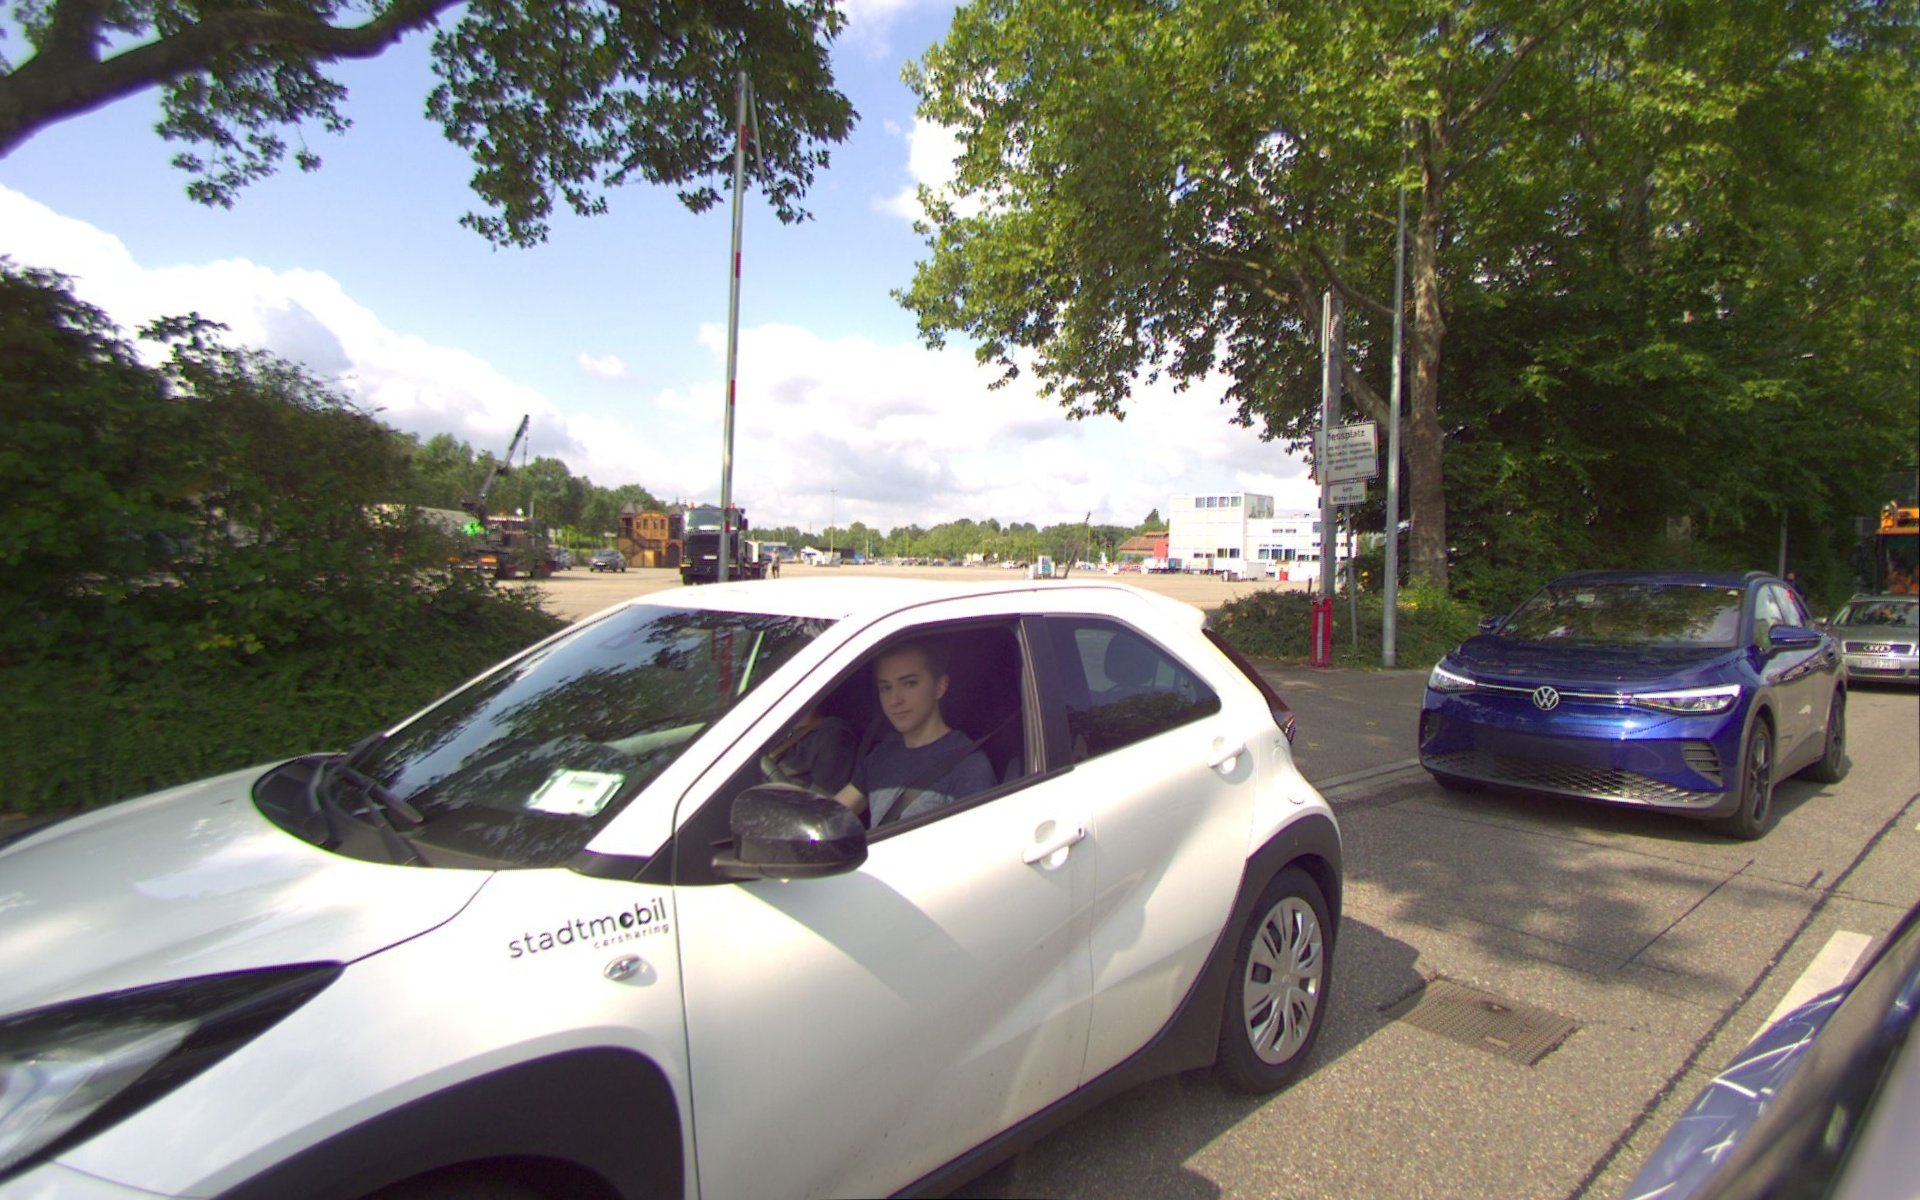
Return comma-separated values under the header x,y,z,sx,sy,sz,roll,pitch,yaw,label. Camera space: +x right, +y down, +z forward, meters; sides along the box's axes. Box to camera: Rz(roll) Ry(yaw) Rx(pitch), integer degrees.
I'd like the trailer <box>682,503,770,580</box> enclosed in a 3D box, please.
x,y,z,sx,sy,sz,roll,pitch,yaw,label
-11.084,-2.717,49.062,2.714,3.196,12.032,1,2,-6,trailer

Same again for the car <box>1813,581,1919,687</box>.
x,y,z,sx,sy,sz,roll,pitch,yaw,label
14.782,0.459,15.713,3.930,1.482,1.770,-1,0,-41,car

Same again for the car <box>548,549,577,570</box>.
x,y,z,sx,sy,sz,roll,pitch,yaw,label
-27.315,-2.769,69.644,1.341,1.353,3.491,0,0,-13,car

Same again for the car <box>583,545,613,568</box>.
x,y,z,sx,sy,sz,roll,pitch,yaw,label
-24.568,-2.903,68.740,1.463,1.438,3.491,0,0,-13,car

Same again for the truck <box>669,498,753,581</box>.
x,y,z,sx,sy,sz,roll,pitch,yaw,label
-10.366,-2.474,42.524,2.714,3.196,5.236,1,2,-6,truck

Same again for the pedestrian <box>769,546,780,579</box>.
x,y,z,sx,sy,sz,roll,pitch,yaw,label
-10.007,-2.022,54.723,0.535,1.769,0.521,1,1,-8,pedestrian

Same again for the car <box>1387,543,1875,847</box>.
x,y,z,sx,sy,sz,roll,pitch,yaw,label
5.169,0.499,7.521,4.500,1.595,1.890,0,0,-41,car

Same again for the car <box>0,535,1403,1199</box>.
x,y,z,sx,sy,sz,roll,pitch,yaw,label
-0.465,0.645,2.711,3.736,1.497,1.746,-1,1,-44,car

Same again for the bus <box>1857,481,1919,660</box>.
x,y,z,sx,sy,sz,roll,pitch,yaw,label
22.996,-0.641,22.884,10.213,3.509,2.742,-1,1,-41,bus

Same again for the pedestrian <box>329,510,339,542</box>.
x,y,z,sx,sy,sz,roll,pitch,yaw,label
-33.380,-3.933,53.969,0.254,1.705,0.425,0,0,31,pedestrian

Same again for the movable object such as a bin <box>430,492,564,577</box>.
x,y,z,sx,sy,sz,roll,pitch,yaw,label
-20.707,-2.869,45.814,2.665,3.414,7.430,2,2,0,movable object such as a bin
